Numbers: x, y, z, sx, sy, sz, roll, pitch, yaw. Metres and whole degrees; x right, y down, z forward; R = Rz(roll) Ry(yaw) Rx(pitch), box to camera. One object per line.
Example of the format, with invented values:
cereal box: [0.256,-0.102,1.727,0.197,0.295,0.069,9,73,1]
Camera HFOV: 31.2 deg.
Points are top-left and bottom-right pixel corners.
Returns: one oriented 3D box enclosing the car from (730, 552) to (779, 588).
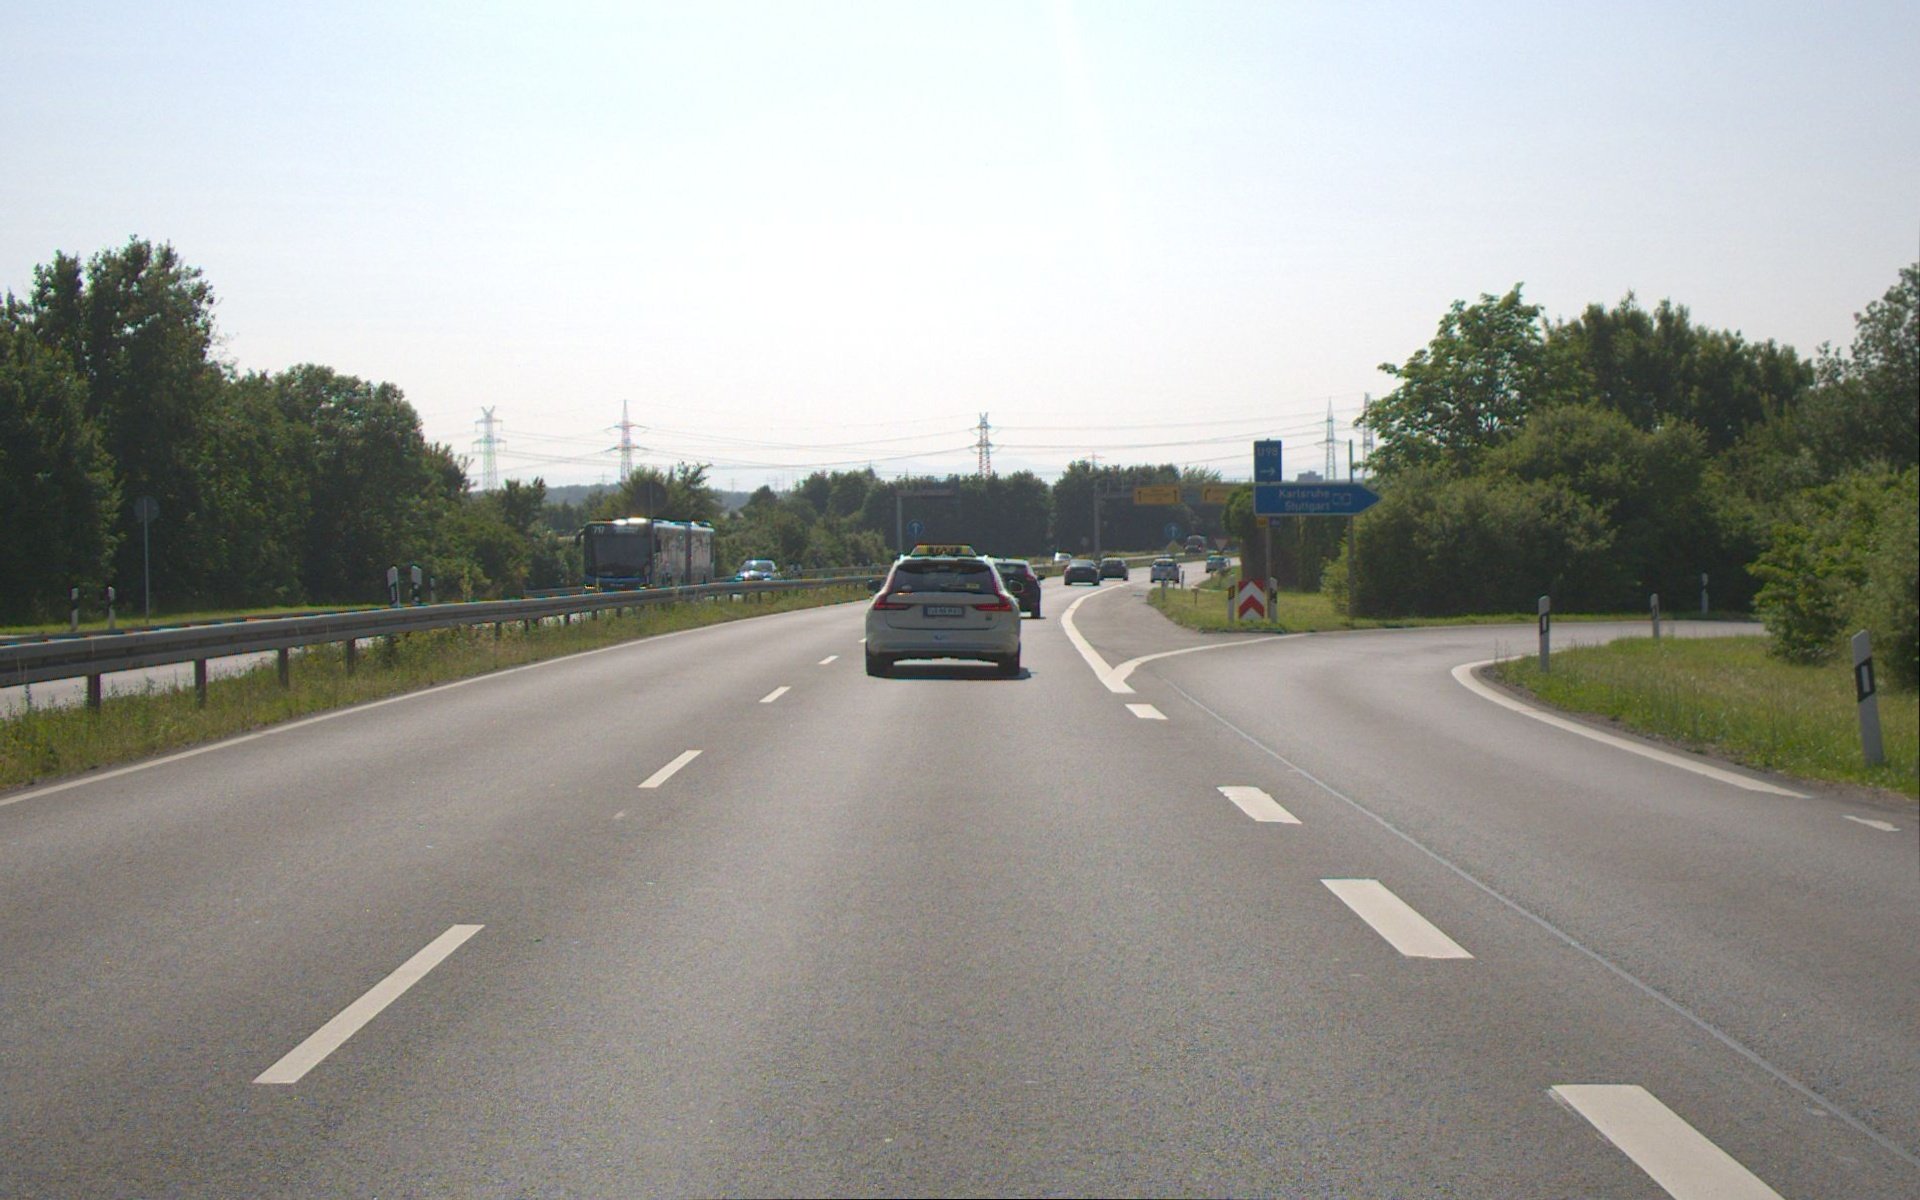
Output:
car: [-9.920,-1.471,166.167,1.993,1.600,4.274,1,2,2]

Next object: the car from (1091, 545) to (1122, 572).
car: [9.529,-2.707,223.956,1.841,1.692,4.000,1,1,1]

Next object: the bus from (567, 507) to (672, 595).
bus: [-12.516,-1.843,127.073,2.725,3.099,9.835,-1,1,1]

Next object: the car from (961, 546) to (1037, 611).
car: [0.923,-0.539,83.593,1.793,1.538,3.672,1,1,0]

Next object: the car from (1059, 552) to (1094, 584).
car: [6.600,-1.820,193.989,1.841,1.796,4.000,1,1,4]

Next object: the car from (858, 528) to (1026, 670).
car: [-0.216,-0.053,42.568,1.958,1.596,4.107,1,2,0]
